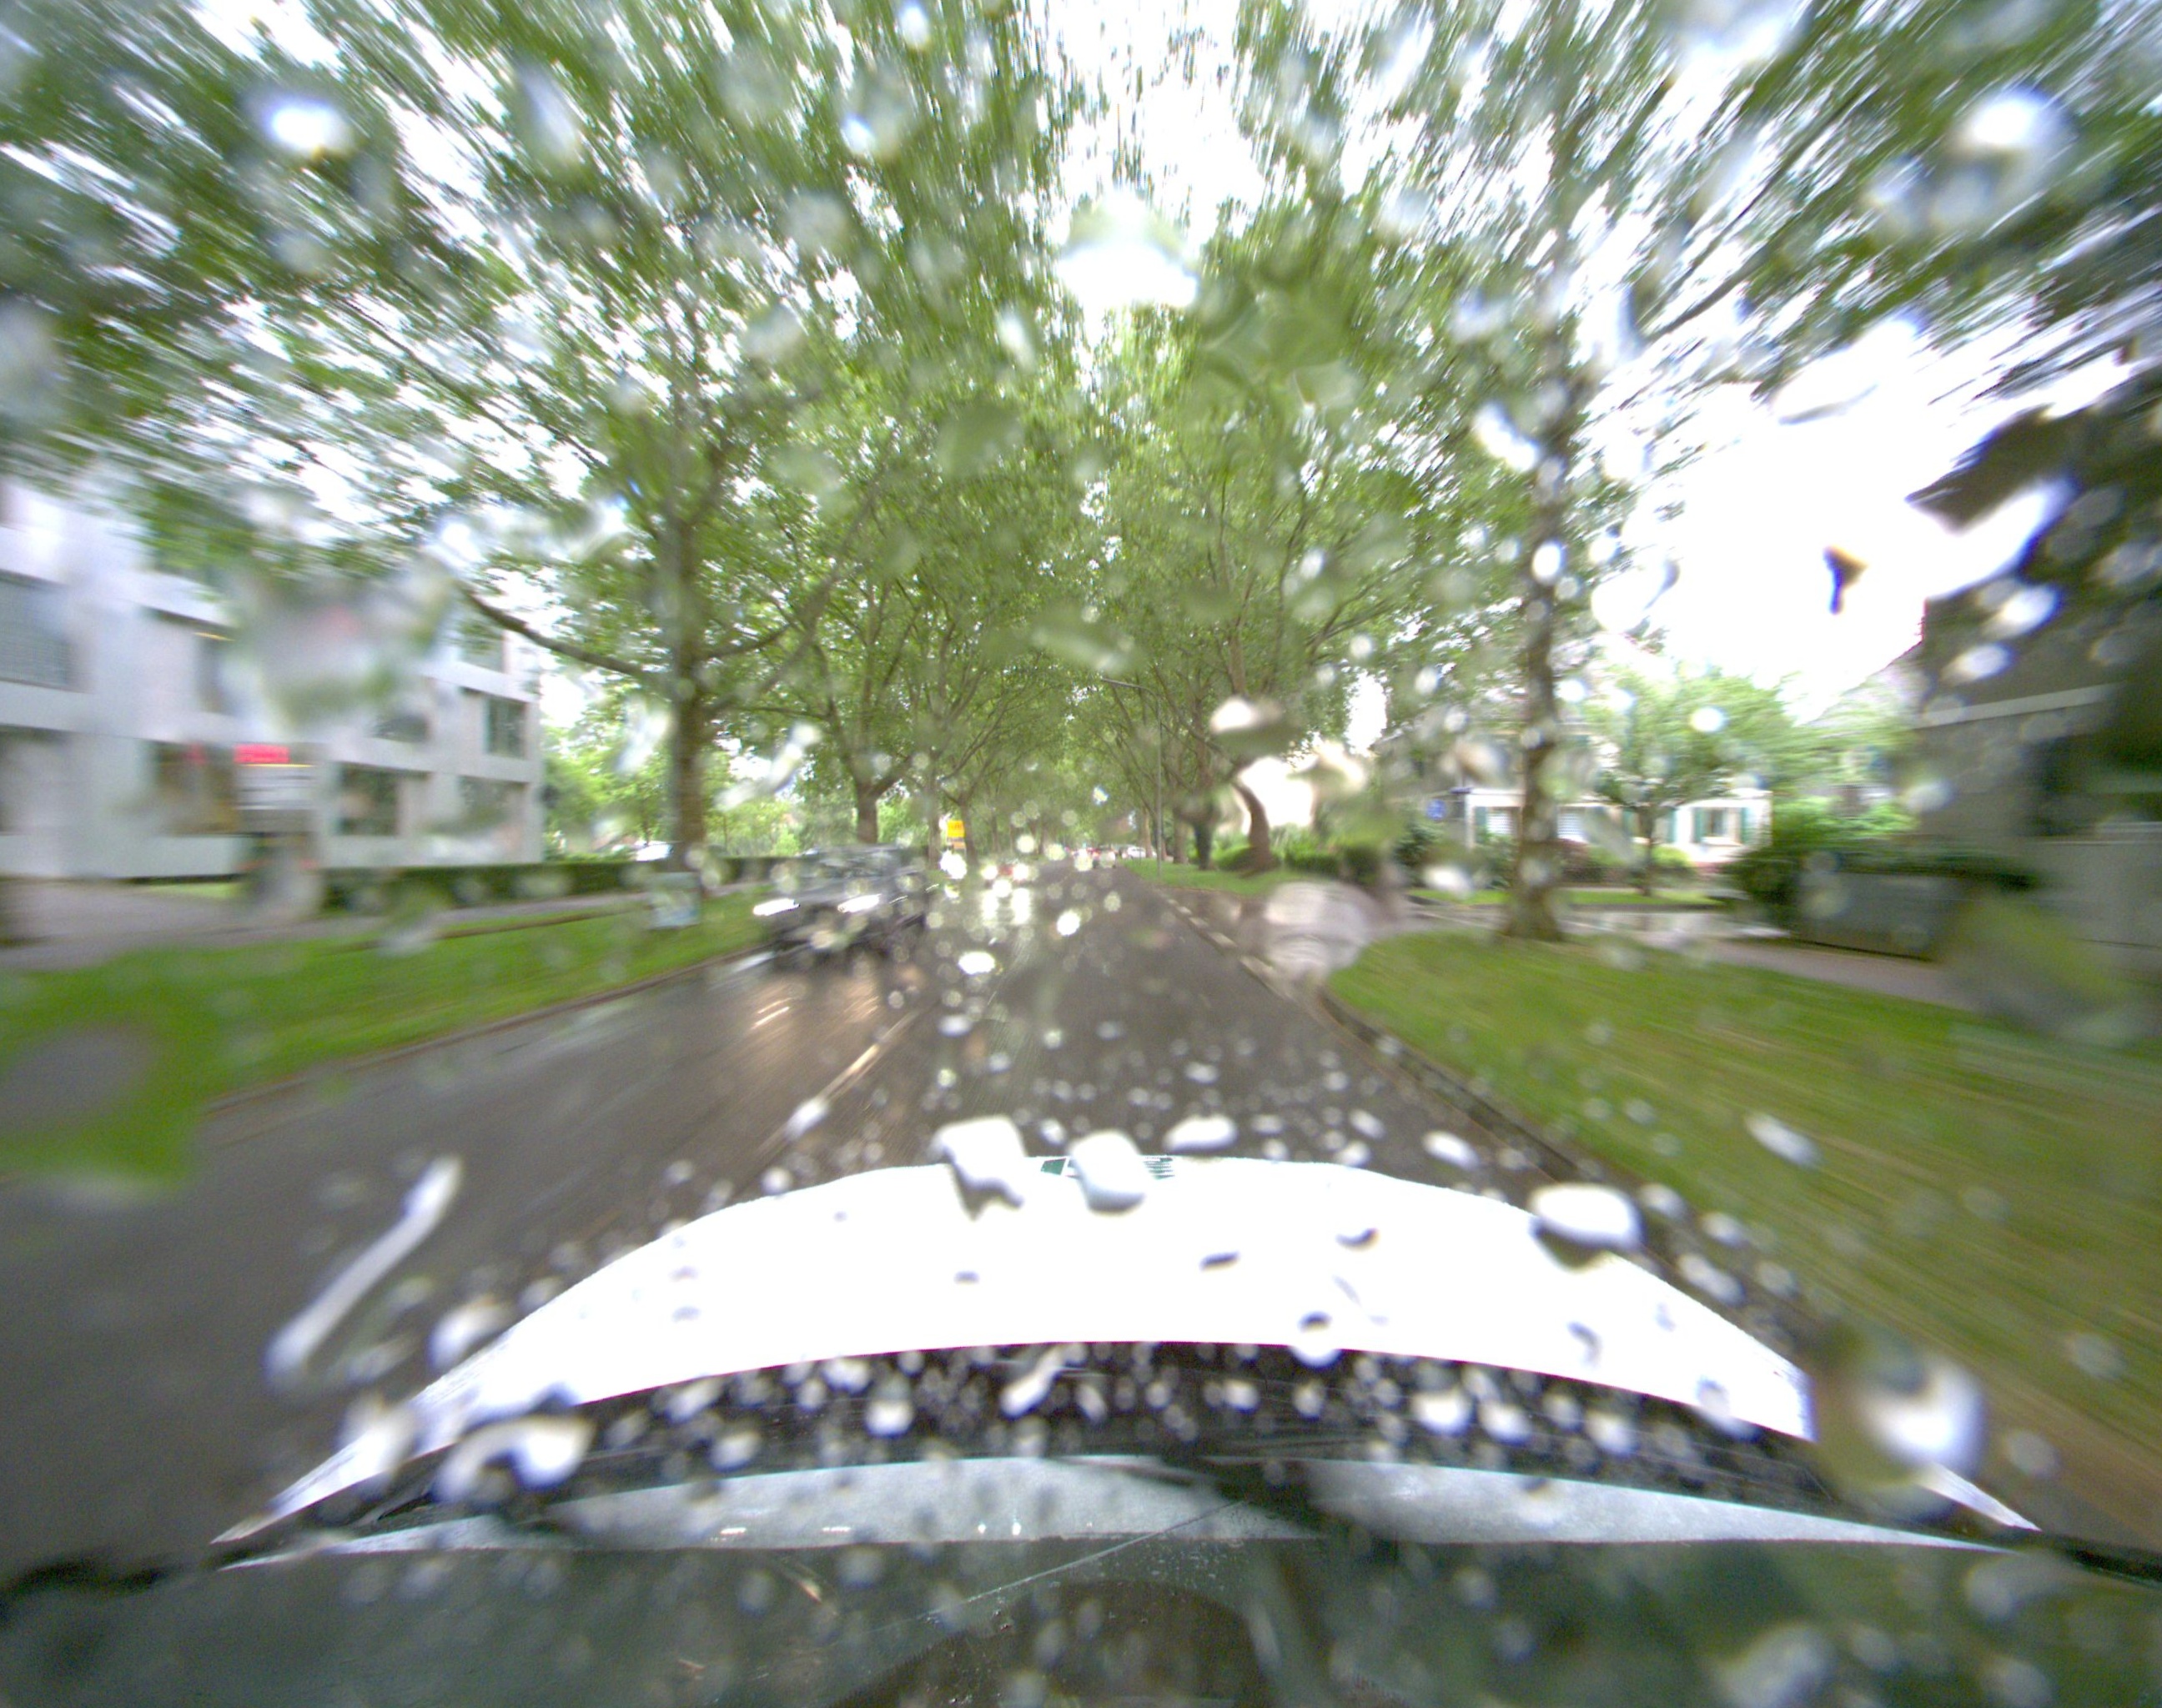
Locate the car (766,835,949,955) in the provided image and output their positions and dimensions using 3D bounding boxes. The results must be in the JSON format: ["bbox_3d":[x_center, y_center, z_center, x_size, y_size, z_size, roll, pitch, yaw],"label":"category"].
[{"bbox_3d":[-3.580,0.550,13.973,1.803,1.684,4.449,-2,1,1],"label":"car"}]

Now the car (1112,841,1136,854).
[{"bbox_3d":[6.578,-1.028,125.793,3.536,1.841,1.711,-2,1,-1],"label":"car"}]

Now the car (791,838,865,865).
[{"bbox_3d":[-15.675,-0.184,50.583,3.972,1.623,2.001,0,1,1],"label":"car"}]

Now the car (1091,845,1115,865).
[{"bbox_3d":[1.672,0.037,61.242,1.700,1.411,3.646,-2,1,1],"label":"car"}]

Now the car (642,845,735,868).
[{"bbox_3d":[-21.011,0.106,43.731,3.973,1.134,2.000,1,1,1],"label":"car"}]

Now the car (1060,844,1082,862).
[{"bbox_3d":[-0.831,-0.077,68.415,1.700,1.411,3.646,-2,1,1],"label":"car"}]

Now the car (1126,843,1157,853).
[{"bbox_3d":[7.228,-0.727,97.858,3.537,1.155,1.711,-2,1,-2],"label":"car"}]

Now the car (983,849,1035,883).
[{"bbox_3d":[-2.896,0.447,33.474,1.700,1.250,3.646,-2,1,1],"label":"car"}]

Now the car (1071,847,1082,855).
[{"bbox_3d":[-0.700,-0.539,136.459,1.713,1.255,4.002,1,1,2],"label":"car"}]

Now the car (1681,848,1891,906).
[{"bbox_3d":[20.383,0.640,23.689,4.389,1.520,1.987,1,1,0],"label":"car"}]
